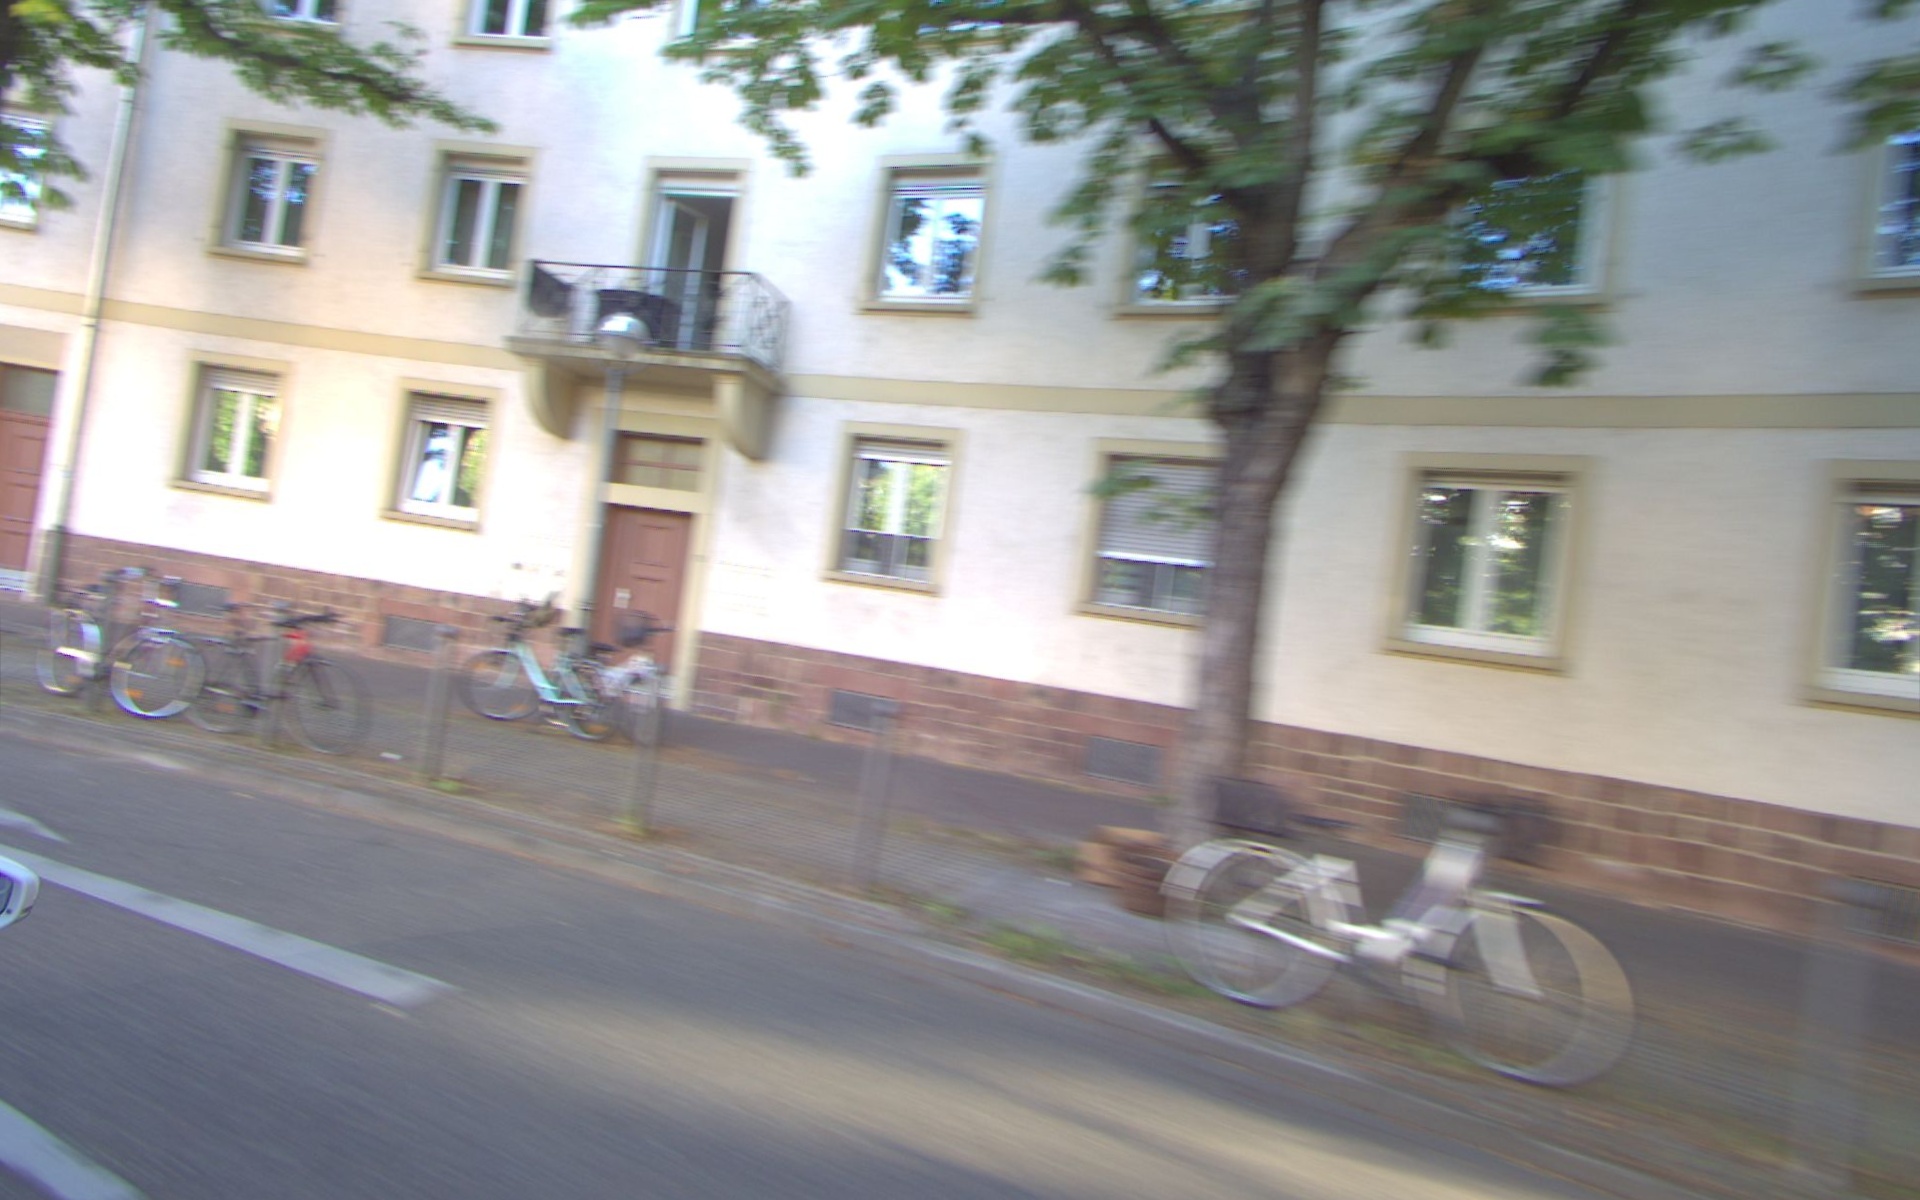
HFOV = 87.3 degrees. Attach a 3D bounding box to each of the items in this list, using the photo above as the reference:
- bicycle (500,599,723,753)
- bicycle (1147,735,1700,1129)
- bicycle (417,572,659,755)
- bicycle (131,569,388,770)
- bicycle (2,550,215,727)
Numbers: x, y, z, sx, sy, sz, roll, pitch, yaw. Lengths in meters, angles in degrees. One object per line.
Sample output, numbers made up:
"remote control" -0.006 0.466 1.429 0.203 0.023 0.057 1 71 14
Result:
"bicycle" -3.267 0.688 9.402 1.931 1.120 0.669 7 -2 26
"bicycle" 1.881 1.307 4.339 1.938 1.109 0.514 7 0 25
"bicycle" -3.732 0.529 8.882 1.931 1.292 0.719 7 0 24
"bicycle" -4.940 0.454 7.081 1.708 1.121 0.527 8 1 21
"bicycle" -6.464 0.269 7.627 1.606 1.077 0.481 8 1 23
